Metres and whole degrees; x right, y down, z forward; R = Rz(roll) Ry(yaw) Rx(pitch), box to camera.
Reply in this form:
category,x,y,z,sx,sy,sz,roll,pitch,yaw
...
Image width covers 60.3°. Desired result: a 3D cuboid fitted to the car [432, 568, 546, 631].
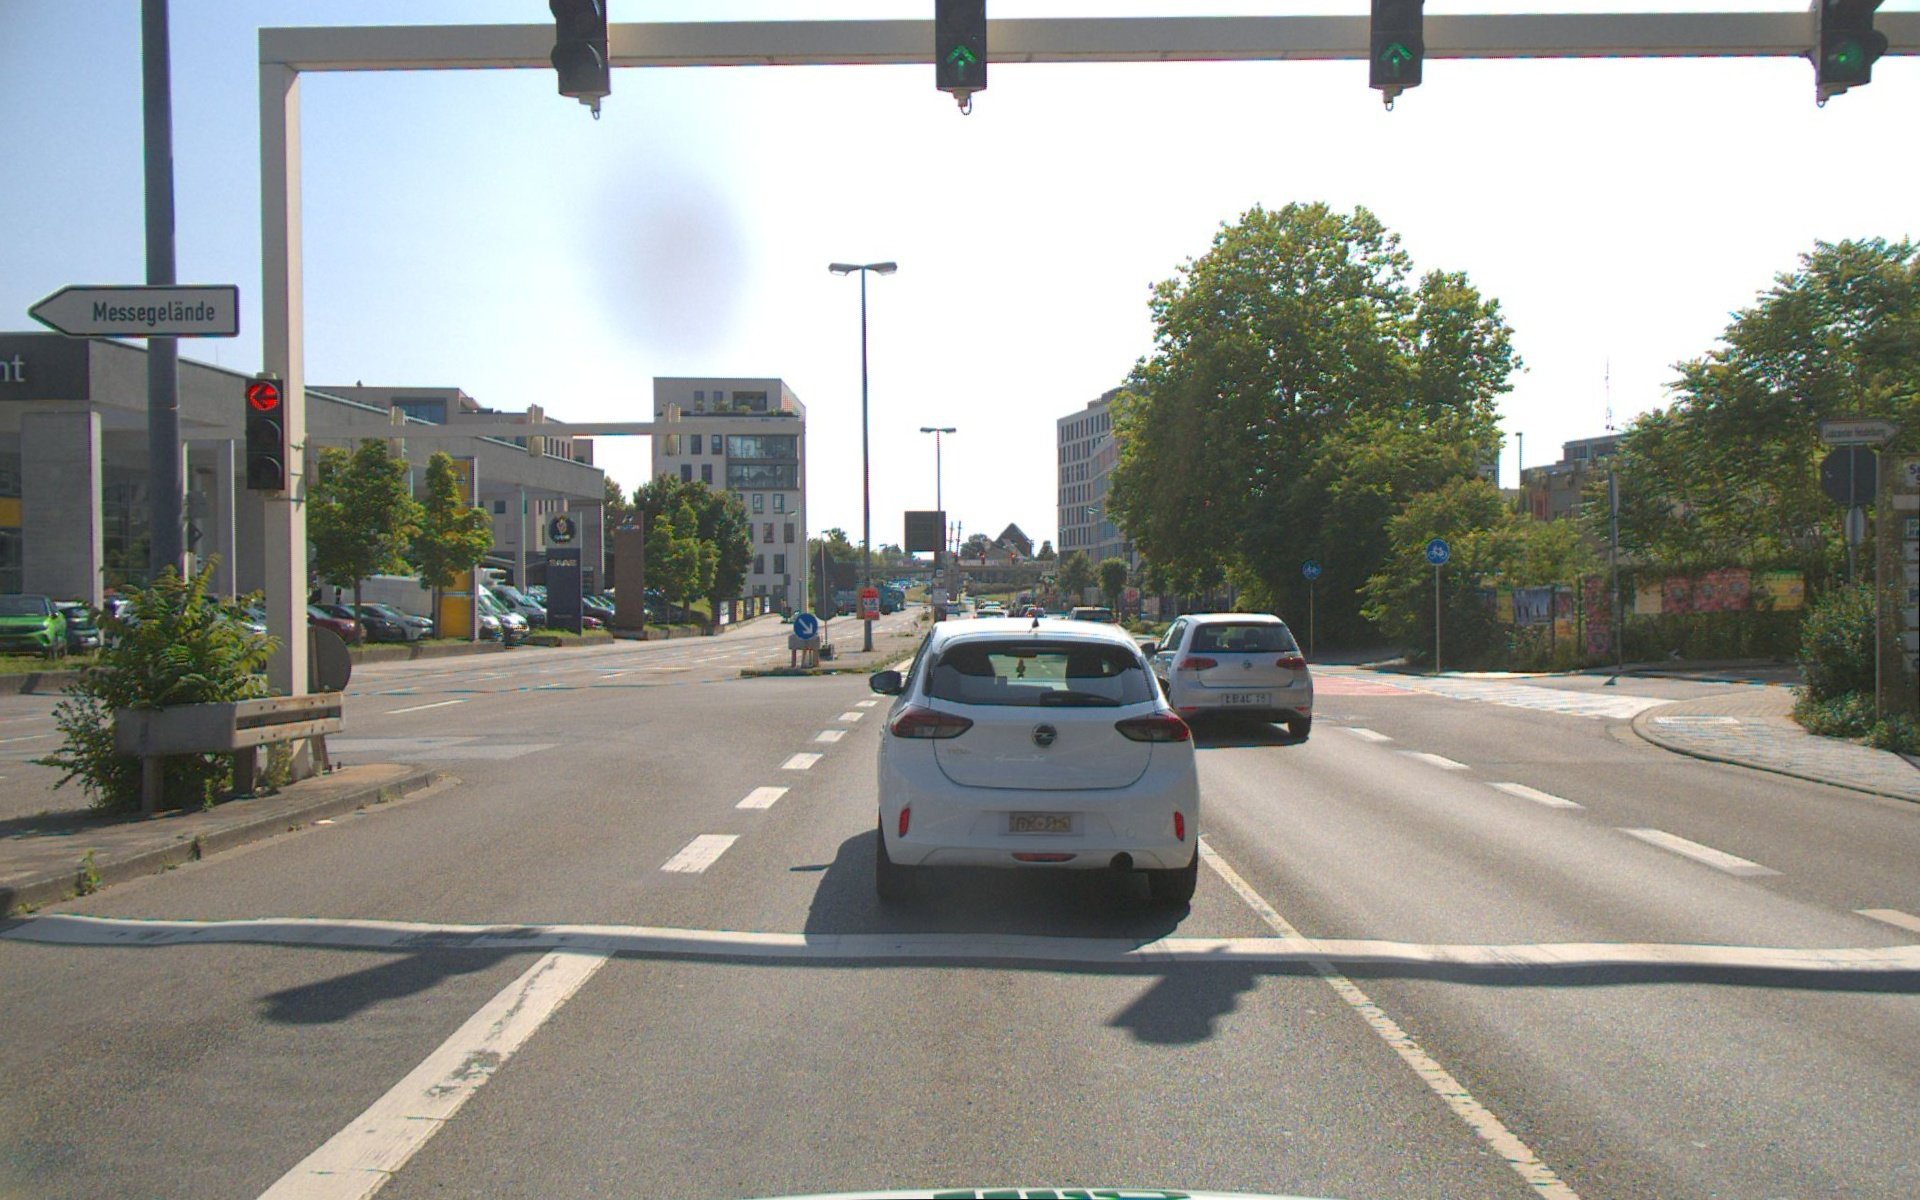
category,x,y,z,sx,sy,sz,roll,pitch,yaw
car,-20.277,-0.010,71.235,4.264,2.646,2.001,0,0,5

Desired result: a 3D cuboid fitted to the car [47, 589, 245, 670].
category,x,y,z,sx,sy,sz,roll,pitch,yaw
car,-19.719,0.706,40.201,3.792,1.870,1.999,-1,0,-2

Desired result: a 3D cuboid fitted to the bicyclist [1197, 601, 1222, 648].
category,x,y,z,sx,sy,sz,roll,pitch,yaw
bicyclist,9.565,0.933,63.428,0.861,1.803,0.864,0,0,0

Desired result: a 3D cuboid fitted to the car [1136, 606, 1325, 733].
category,x,y,z,sx,sy,sz,roll,pitch,yaw
car,3.349,0.830,21.193,1.770,1.454,4.000,0,-1,0

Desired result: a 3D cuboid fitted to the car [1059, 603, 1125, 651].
category,x,y,z,sx,sy,sz,roll,pitch,yaw
car,4.537,0.910,57.489,1.953,1.578,4.433,0,0,0

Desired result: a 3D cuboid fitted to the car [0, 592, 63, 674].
category,x,y,z,sx,sy,sz,roll,pitch,yaw
car,-21.619,0.768,37.481,1.886,1.764,3.252,0,-2,-36

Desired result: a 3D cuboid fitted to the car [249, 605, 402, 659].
category,x,y,z,sx,sy,sz,roll,pitch,yaw
car,-20.842,1.034,54.494,4.269,1.726,1.999,-1,0,-2

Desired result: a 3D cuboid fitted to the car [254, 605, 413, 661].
category,x,y,z,sx,sy,sz,roll,pitch,yaw
car,-19.742,1.023,52.261,4.269,1.726,1.999,0,-1,-2

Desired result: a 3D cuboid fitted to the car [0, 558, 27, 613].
category,x,y,z,sx,sy,sz,roll,pitch,yaw
car,-37.595,-0.568,62.126,3.908,2.049,1.998,1,-1,-4

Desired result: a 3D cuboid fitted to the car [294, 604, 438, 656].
category,x,y,z,sx,sy,sz,roll,pitch,yaw
car,-20.672,1.036,57.692,4.269,1.726,1.999,-1,0,-2

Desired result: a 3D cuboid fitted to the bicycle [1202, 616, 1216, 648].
category,x,y,z,sx,sy,sz,roll,pitch,yaw
bicycle,9.559,1.221,63.424,0.365,1.238,1.154,1,-1,1

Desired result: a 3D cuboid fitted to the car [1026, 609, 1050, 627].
category,x,y,z,sx,sy,sz,roll,pitch,yaw
car,6.251,1.454,133.052,1.769,1.410,4.000,1,-1,0

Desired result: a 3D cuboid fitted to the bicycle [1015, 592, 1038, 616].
category,x,y,z,sx,sy,sz,roll,pitch,yaw
bicycle,6.155,0.337,153.415,1.952,2.195,4.000,0,0,0

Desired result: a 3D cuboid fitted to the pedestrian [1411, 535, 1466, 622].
category,x,y,z,sx,sy,sz,roll,pitch,yaw
pedestrian,11.451,-0.508,39.600,1.006,2.049,1.038,0,-1,0

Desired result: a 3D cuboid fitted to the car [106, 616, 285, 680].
category,x,y,z,sx,sy,sz,roll,pitch,yaw
car,-20.452,1.268,44.413,3.910,1.627,1.997,0,0,-7

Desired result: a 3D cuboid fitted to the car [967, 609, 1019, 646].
category,x,y,z,sx,sy,sz,roll,pitch,yaw
car,1.342,1.127,68.146,1.953,1.472,4.369,1,-1,-1

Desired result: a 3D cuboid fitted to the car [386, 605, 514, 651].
category,x,y,z,sx,sy,sz,roll,pitch,yaw
car,-19.538,1.063,63.457,4.264,1.726,2.001,-1,0,5

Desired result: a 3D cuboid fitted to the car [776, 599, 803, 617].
category,x,y,z,sx,sy,sz,roll,pitch,yaw
car,-14.419,0.693,140.151,1.769,1.410,4.000,1,-1,0

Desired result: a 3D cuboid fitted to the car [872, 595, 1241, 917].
category,x,y,z,sx,sy,sz,roll,pitch,yaw
car,0.469,0.750,9.863,1.743,1.520,4.000,0,0,0

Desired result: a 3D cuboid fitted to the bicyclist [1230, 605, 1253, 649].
category,x,y,z,sx,sy,sz,roll,pitch,yaw
bicyclist,10.695,1.014,62.890,0.675,1.672,0.775,0,0,-8

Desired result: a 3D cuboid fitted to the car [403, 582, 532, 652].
category,x,y,z,sx,sy,sz,roll,pitch,yaw
car,-19.568,0.667,65.815,4.401,2.731,2.130,0,0,9

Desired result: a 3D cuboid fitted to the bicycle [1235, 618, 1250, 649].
category,x,y,z,sx,sy,sz,roll,pitch,yaw
bicycle,10.727,1.280,62.859,0.366,1.167,1.034,1,-1,-2

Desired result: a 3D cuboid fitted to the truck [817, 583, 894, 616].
category,x,y,z,sx,sy,sz,roll,pitch,yaw
truck,-12.538,-0.058,198.116,8.900,3.902,3.072,0,0,-12

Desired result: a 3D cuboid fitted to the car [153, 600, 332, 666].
category,x,y,z,sx,sy,sz,roll,pitch,yaw
car,-20.392,0.929,47.122,4.210,1.796,1.999,-1,0,-2

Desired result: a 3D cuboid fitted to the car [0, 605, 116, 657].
category,x,y,z,sx,sy,sz,roll,pitch,yaw
car,-25.172,0.860,44.148,4.274,1.290,1.996,-1,-2,-8
